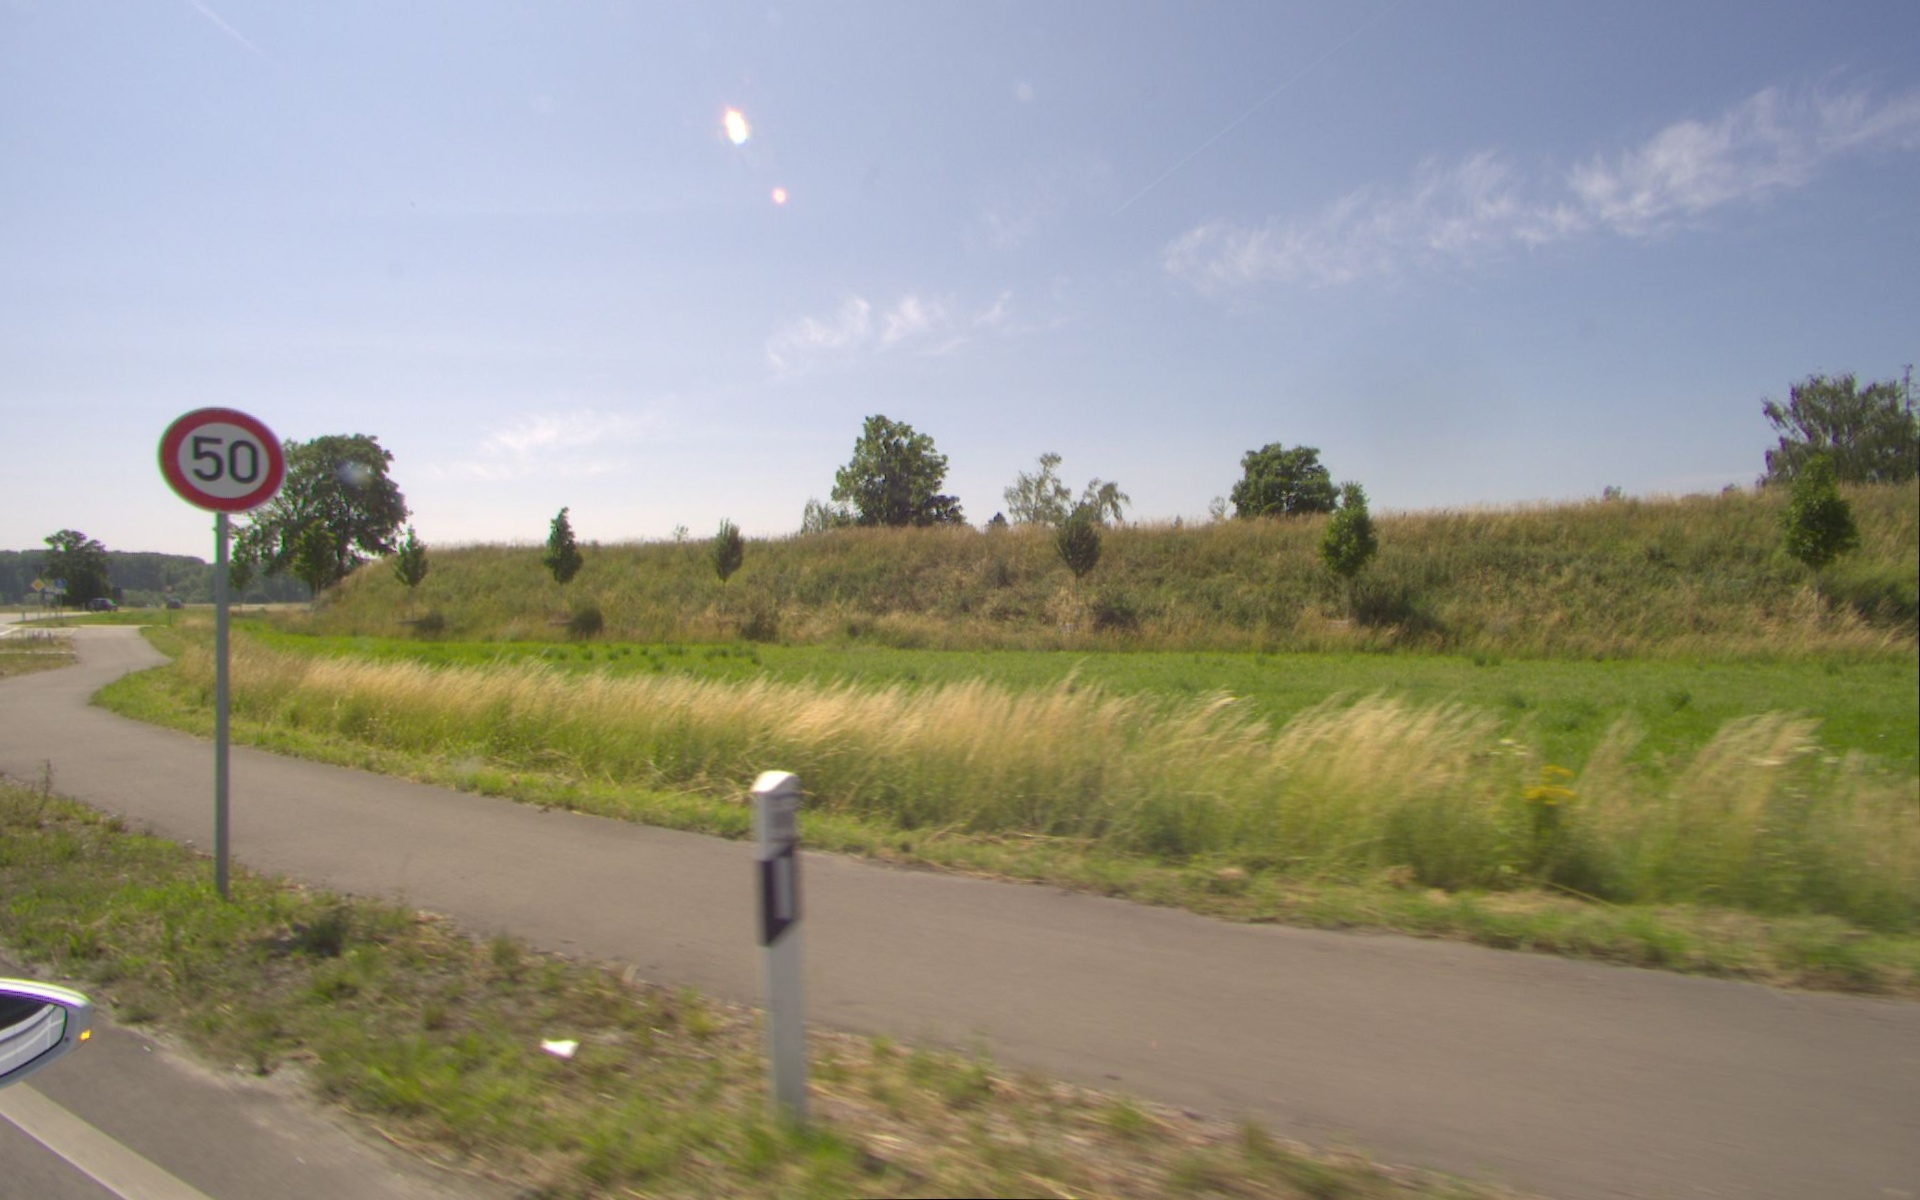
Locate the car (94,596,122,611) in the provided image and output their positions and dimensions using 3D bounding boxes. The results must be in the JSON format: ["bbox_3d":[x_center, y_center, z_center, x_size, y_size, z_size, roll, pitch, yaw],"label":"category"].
[{"bbox_3d":[-96.277,0.409,113.236,1.781,1.496,4.389,-3,0,-33],"label":"car"}]

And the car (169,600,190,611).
[{"bbox_3d":[-117.352,0.842,150.543,1.778,1.542,3.864,-4,2,-28],"label":"car"}]
